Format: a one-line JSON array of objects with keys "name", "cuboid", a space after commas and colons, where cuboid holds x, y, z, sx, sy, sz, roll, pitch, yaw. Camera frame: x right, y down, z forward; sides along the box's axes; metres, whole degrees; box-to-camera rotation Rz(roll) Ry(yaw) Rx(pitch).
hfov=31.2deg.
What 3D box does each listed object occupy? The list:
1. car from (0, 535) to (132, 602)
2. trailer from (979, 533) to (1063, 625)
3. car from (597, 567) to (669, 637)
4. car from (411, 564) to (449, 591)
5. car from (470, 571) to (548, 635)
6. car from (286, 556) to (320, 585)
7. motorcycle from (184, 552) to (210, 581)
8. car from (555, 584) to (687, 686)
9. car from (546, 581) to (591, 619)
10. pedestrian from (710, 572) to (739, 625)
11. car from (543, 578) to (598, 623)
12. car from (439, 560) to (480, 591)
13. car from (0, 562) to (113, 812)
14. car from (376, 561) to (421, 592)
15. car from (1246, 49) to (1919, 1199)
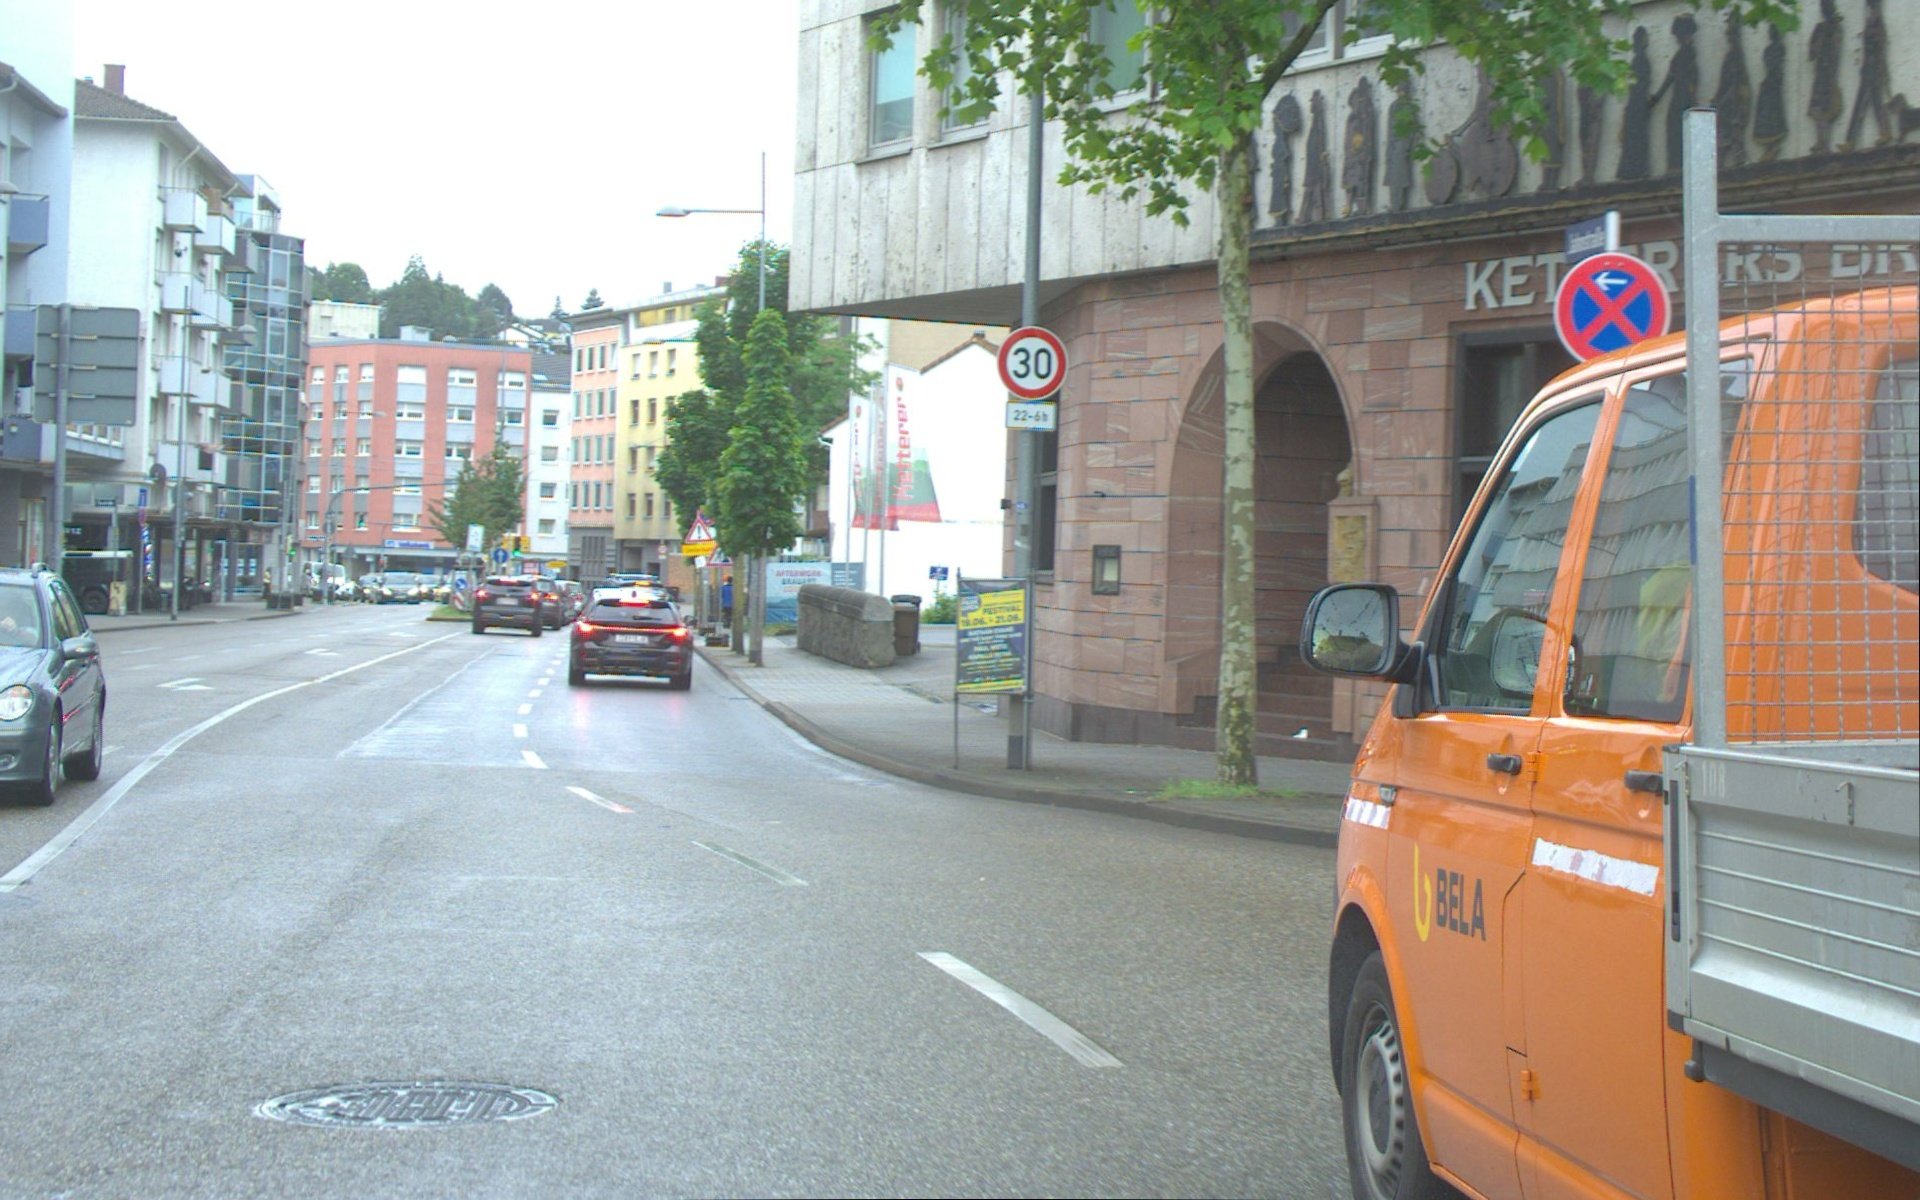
[{"name": "car", "cuboid": [-28.707, -1.008, 110.132, 3.962, 2.027, 1.580, 2, 0, -4]}, {"name": "trailer", "cuboid": [1.823, -0.669, 104.704, 2.127, 2.707, 5.392, -1, 1, -3]}, {"name": "car", "cuboid": [-9.337, 0.043, 98.369, 1.830, 1.799, 3.719, 3, 1, -4]}, {"name": "car", "cuboid": [-28.569, -1.236, 185.338, 1.720, 1.418, 4.166, -1, 0, -13]}, {"name": "car", "cuboid": [-12.204, 0.078, 93.158, 1.823, 1.595, 3.719, 3, 0, -5]}, {"name": "car", "cuboid": [-35.861, -1.632, 187.585, 1.455, 1.425, 3.371, 4, 1, -16]}, {"name": "motorcycle", "cuboid": [-26.761, -1.169, 120.591, 0.525, 0.992, 2.137, 4, 0, -4]}, {"name": "car", "cuboid": [-5.288, 0.515, 53.159, 1.789, 1.398, 4.634, 2, 0, -8]}, {"name": "car", "cuboid": [-14.607, -0.013, 128.181, 1.640, 1.376, 3.349, 0, 0, -6]}, {"name": "pedestrian", "cuboid": [-7.830, -0.063, 114.284, 0.791, 1.749, 0.871, 0, 0, 8]}, {"name": "car", "cuboid": [-12.018, 0.009, 105.986, 1.640, 1.376, 3.349, 0, 0, -6]}, {"name": "car", "cuboid": [-23.915, -1.171, 164.290, 1.720, 1.418, 4.166, -1, 0, -5]}, {"name": "car", "cuboid": [-6.440, 0.474, 21.852, 1.732, 1.435, 4.414, 1, 0, -10]}, {"name": "car", "cuboid": [-26.755, -1.121, 163.811, 1.707, 1.463, 4.830, -1, 0, -5]}, {"name": "car", "cuboid": [1.972, 0.404, 5.503, 2.101, 2.082, 5.542, -1, 1, -5]}]
